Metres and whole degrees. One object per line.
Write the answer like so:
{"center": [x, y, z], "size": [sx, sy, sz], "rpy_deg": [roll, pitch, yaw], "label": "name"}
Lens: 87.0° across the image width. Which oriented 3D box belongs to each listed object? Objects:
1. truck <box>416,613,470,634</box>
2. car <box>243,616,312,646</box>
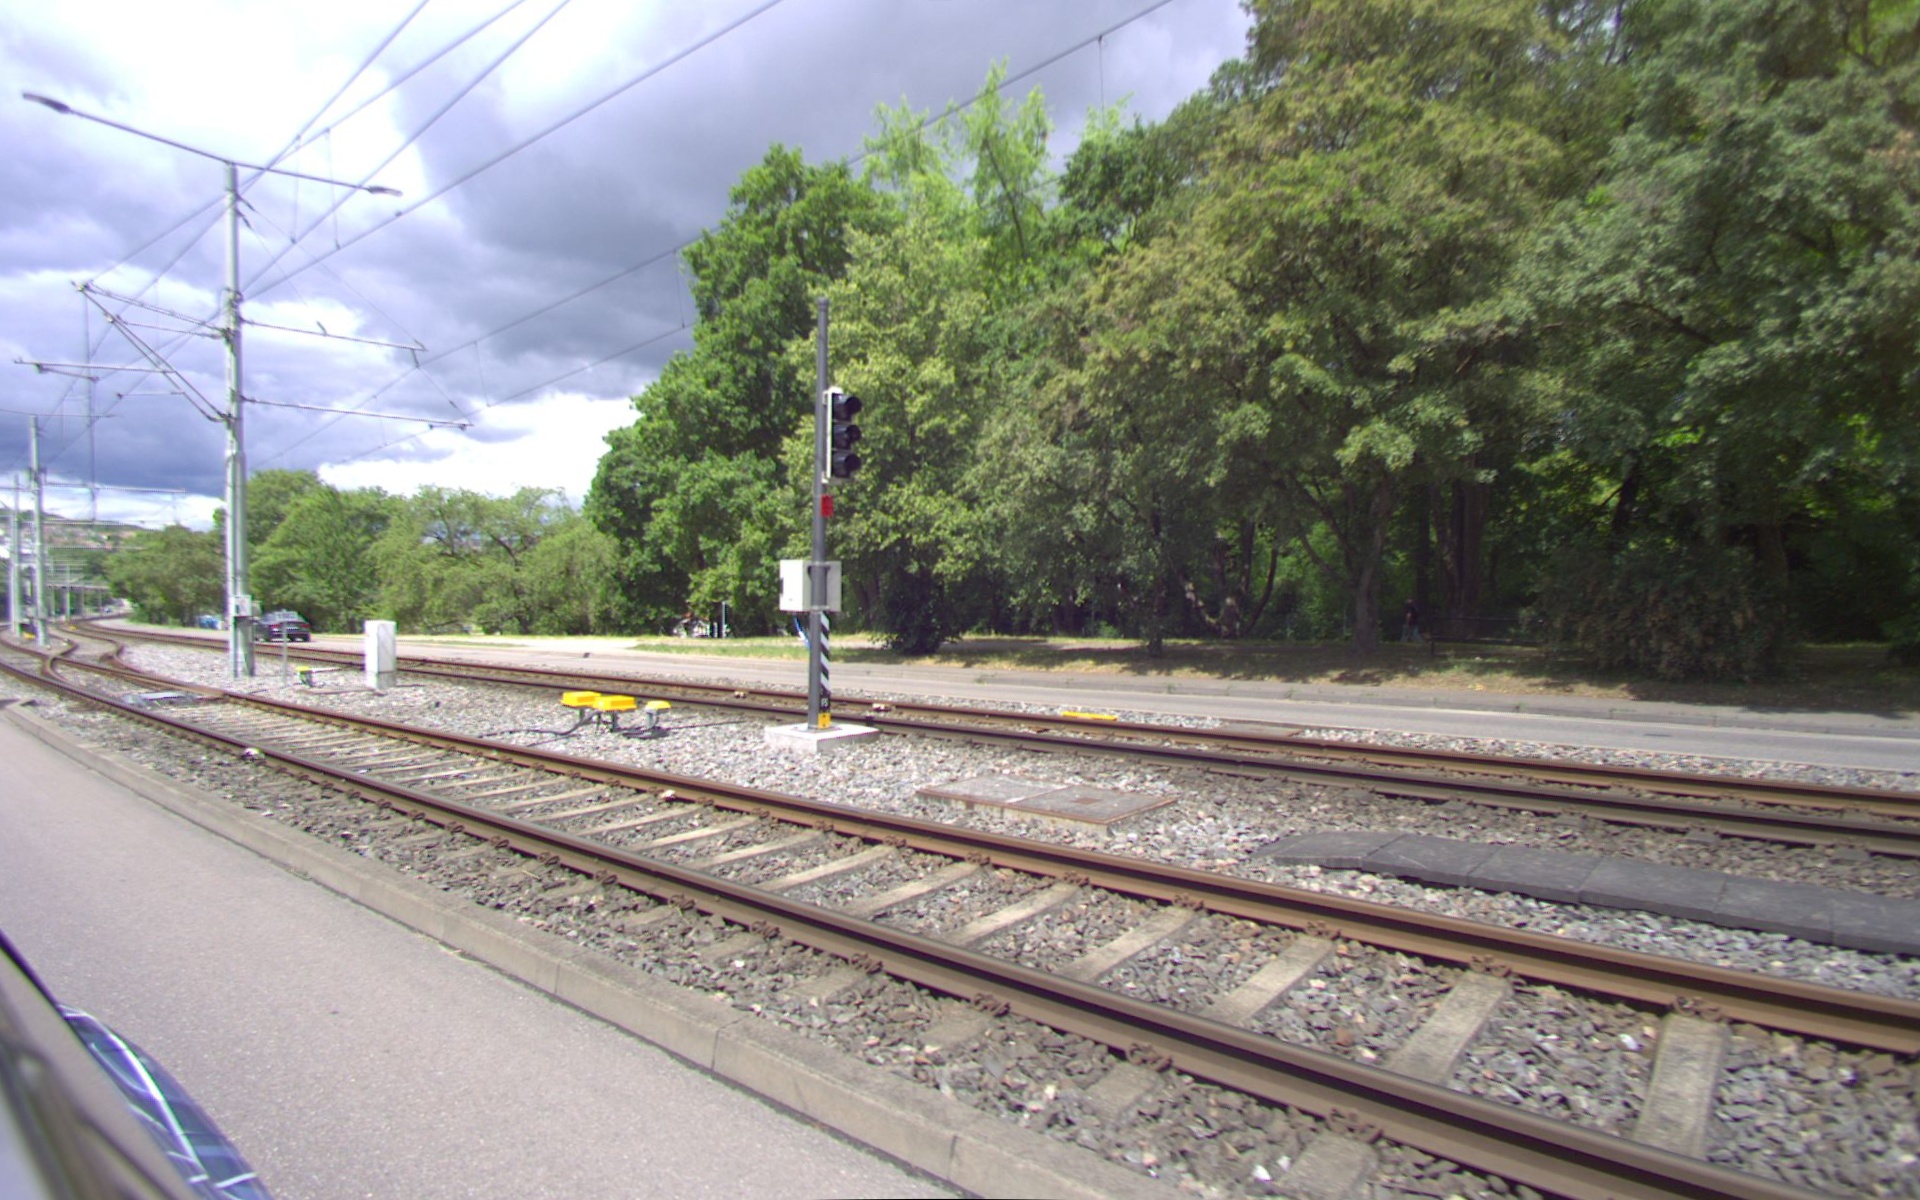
{"center": [-74.922, 3.485, 146.819], "size": [6.519, 2.877, 2.684], "rpy_deg": [3, -3, -40], "label": "truck"}
{"center": [-33.972, 1.545, 50.299], "size": [4.862, 1.402, 1.815], "rpy_deg": [-1, -2, 44], "label": "car"}
